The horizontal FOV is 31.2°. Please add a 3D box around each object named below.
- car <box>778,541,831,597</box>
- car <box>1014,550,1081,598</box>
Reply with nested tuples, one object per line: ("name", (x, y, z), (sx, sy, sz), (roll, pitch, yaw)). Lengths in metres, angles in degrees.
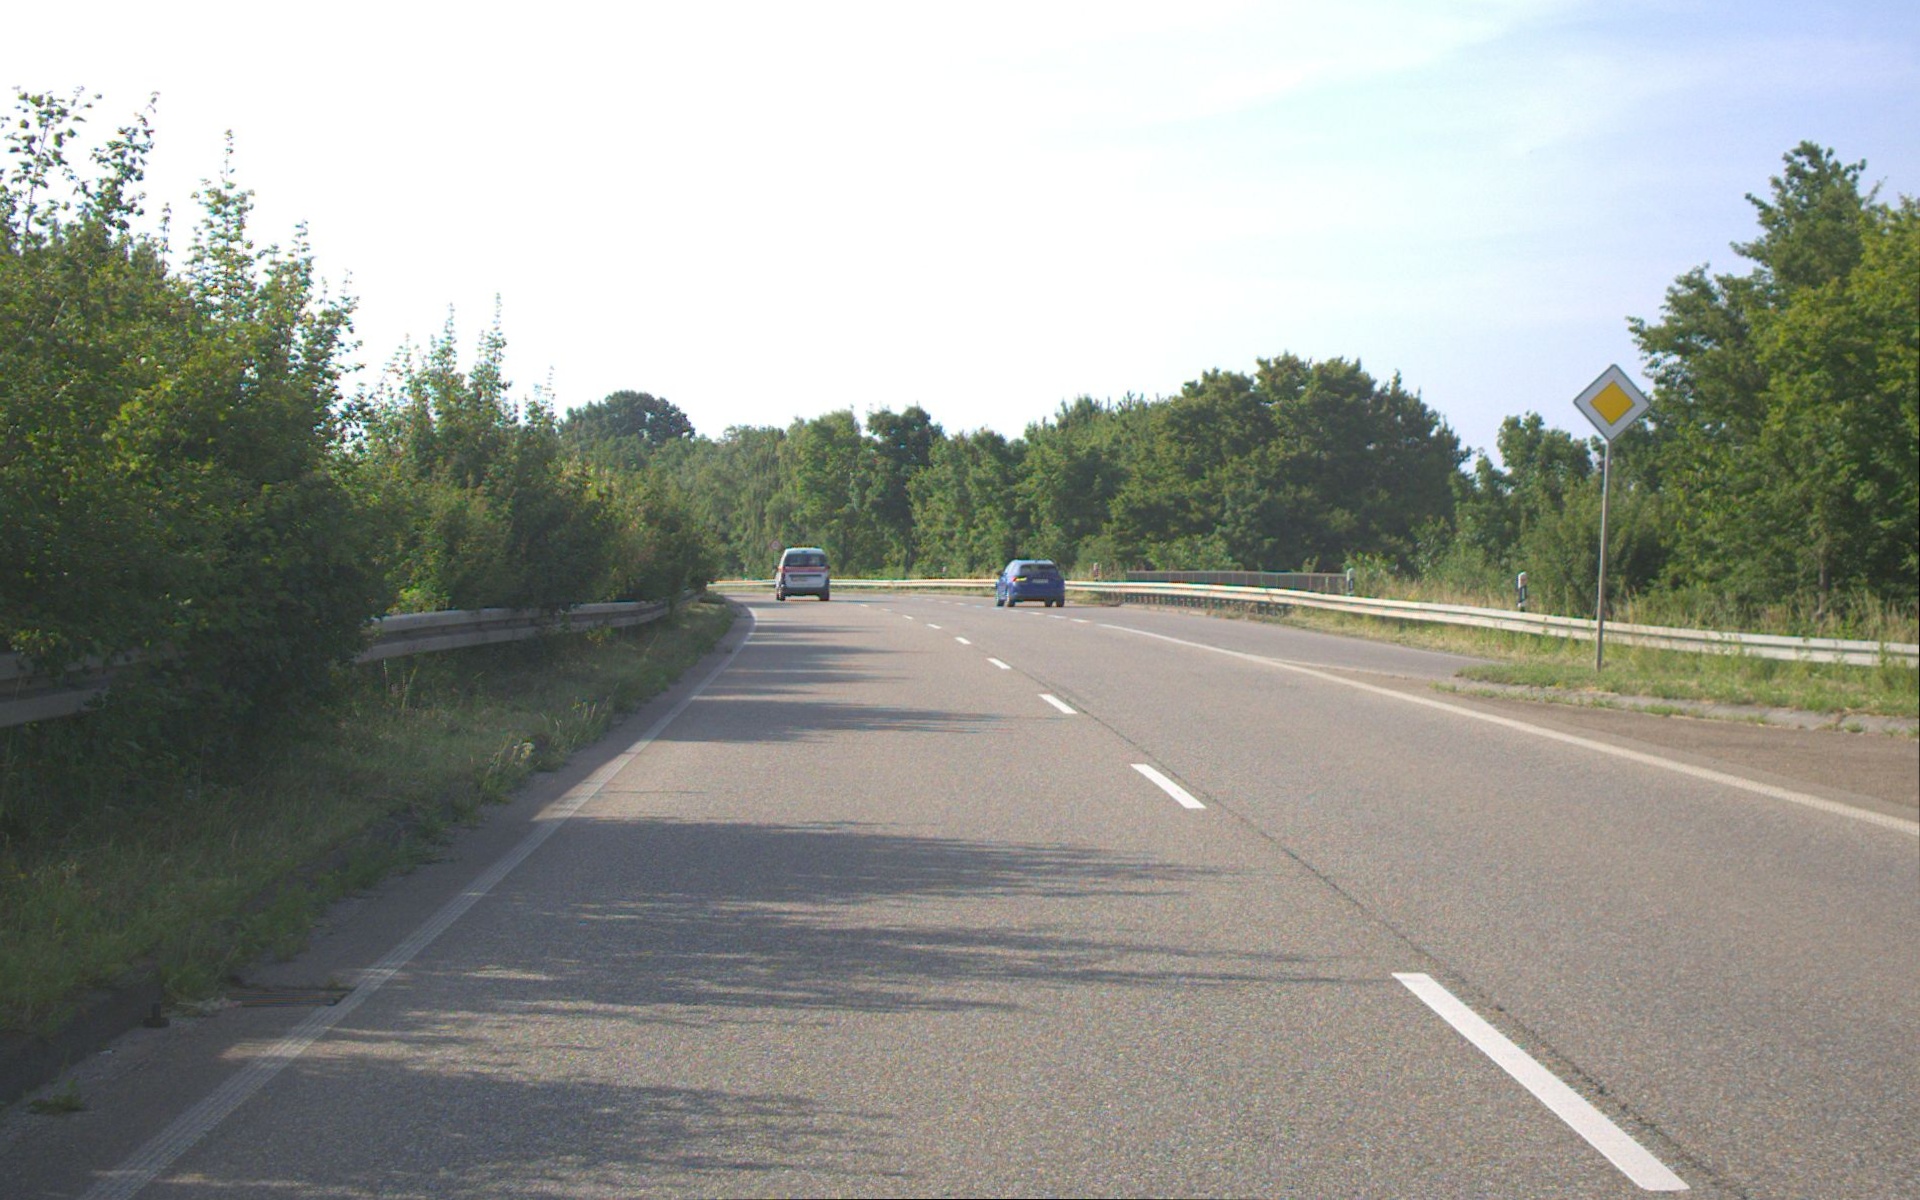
("car", (-5.333, -1.050, 117.692), (1.765, 1.875, 4.000), (1, 0, -3))
("car", (2.690, -0.798, 106.942), (1.779, 1.447, 4.000), (0, 0, -3))
